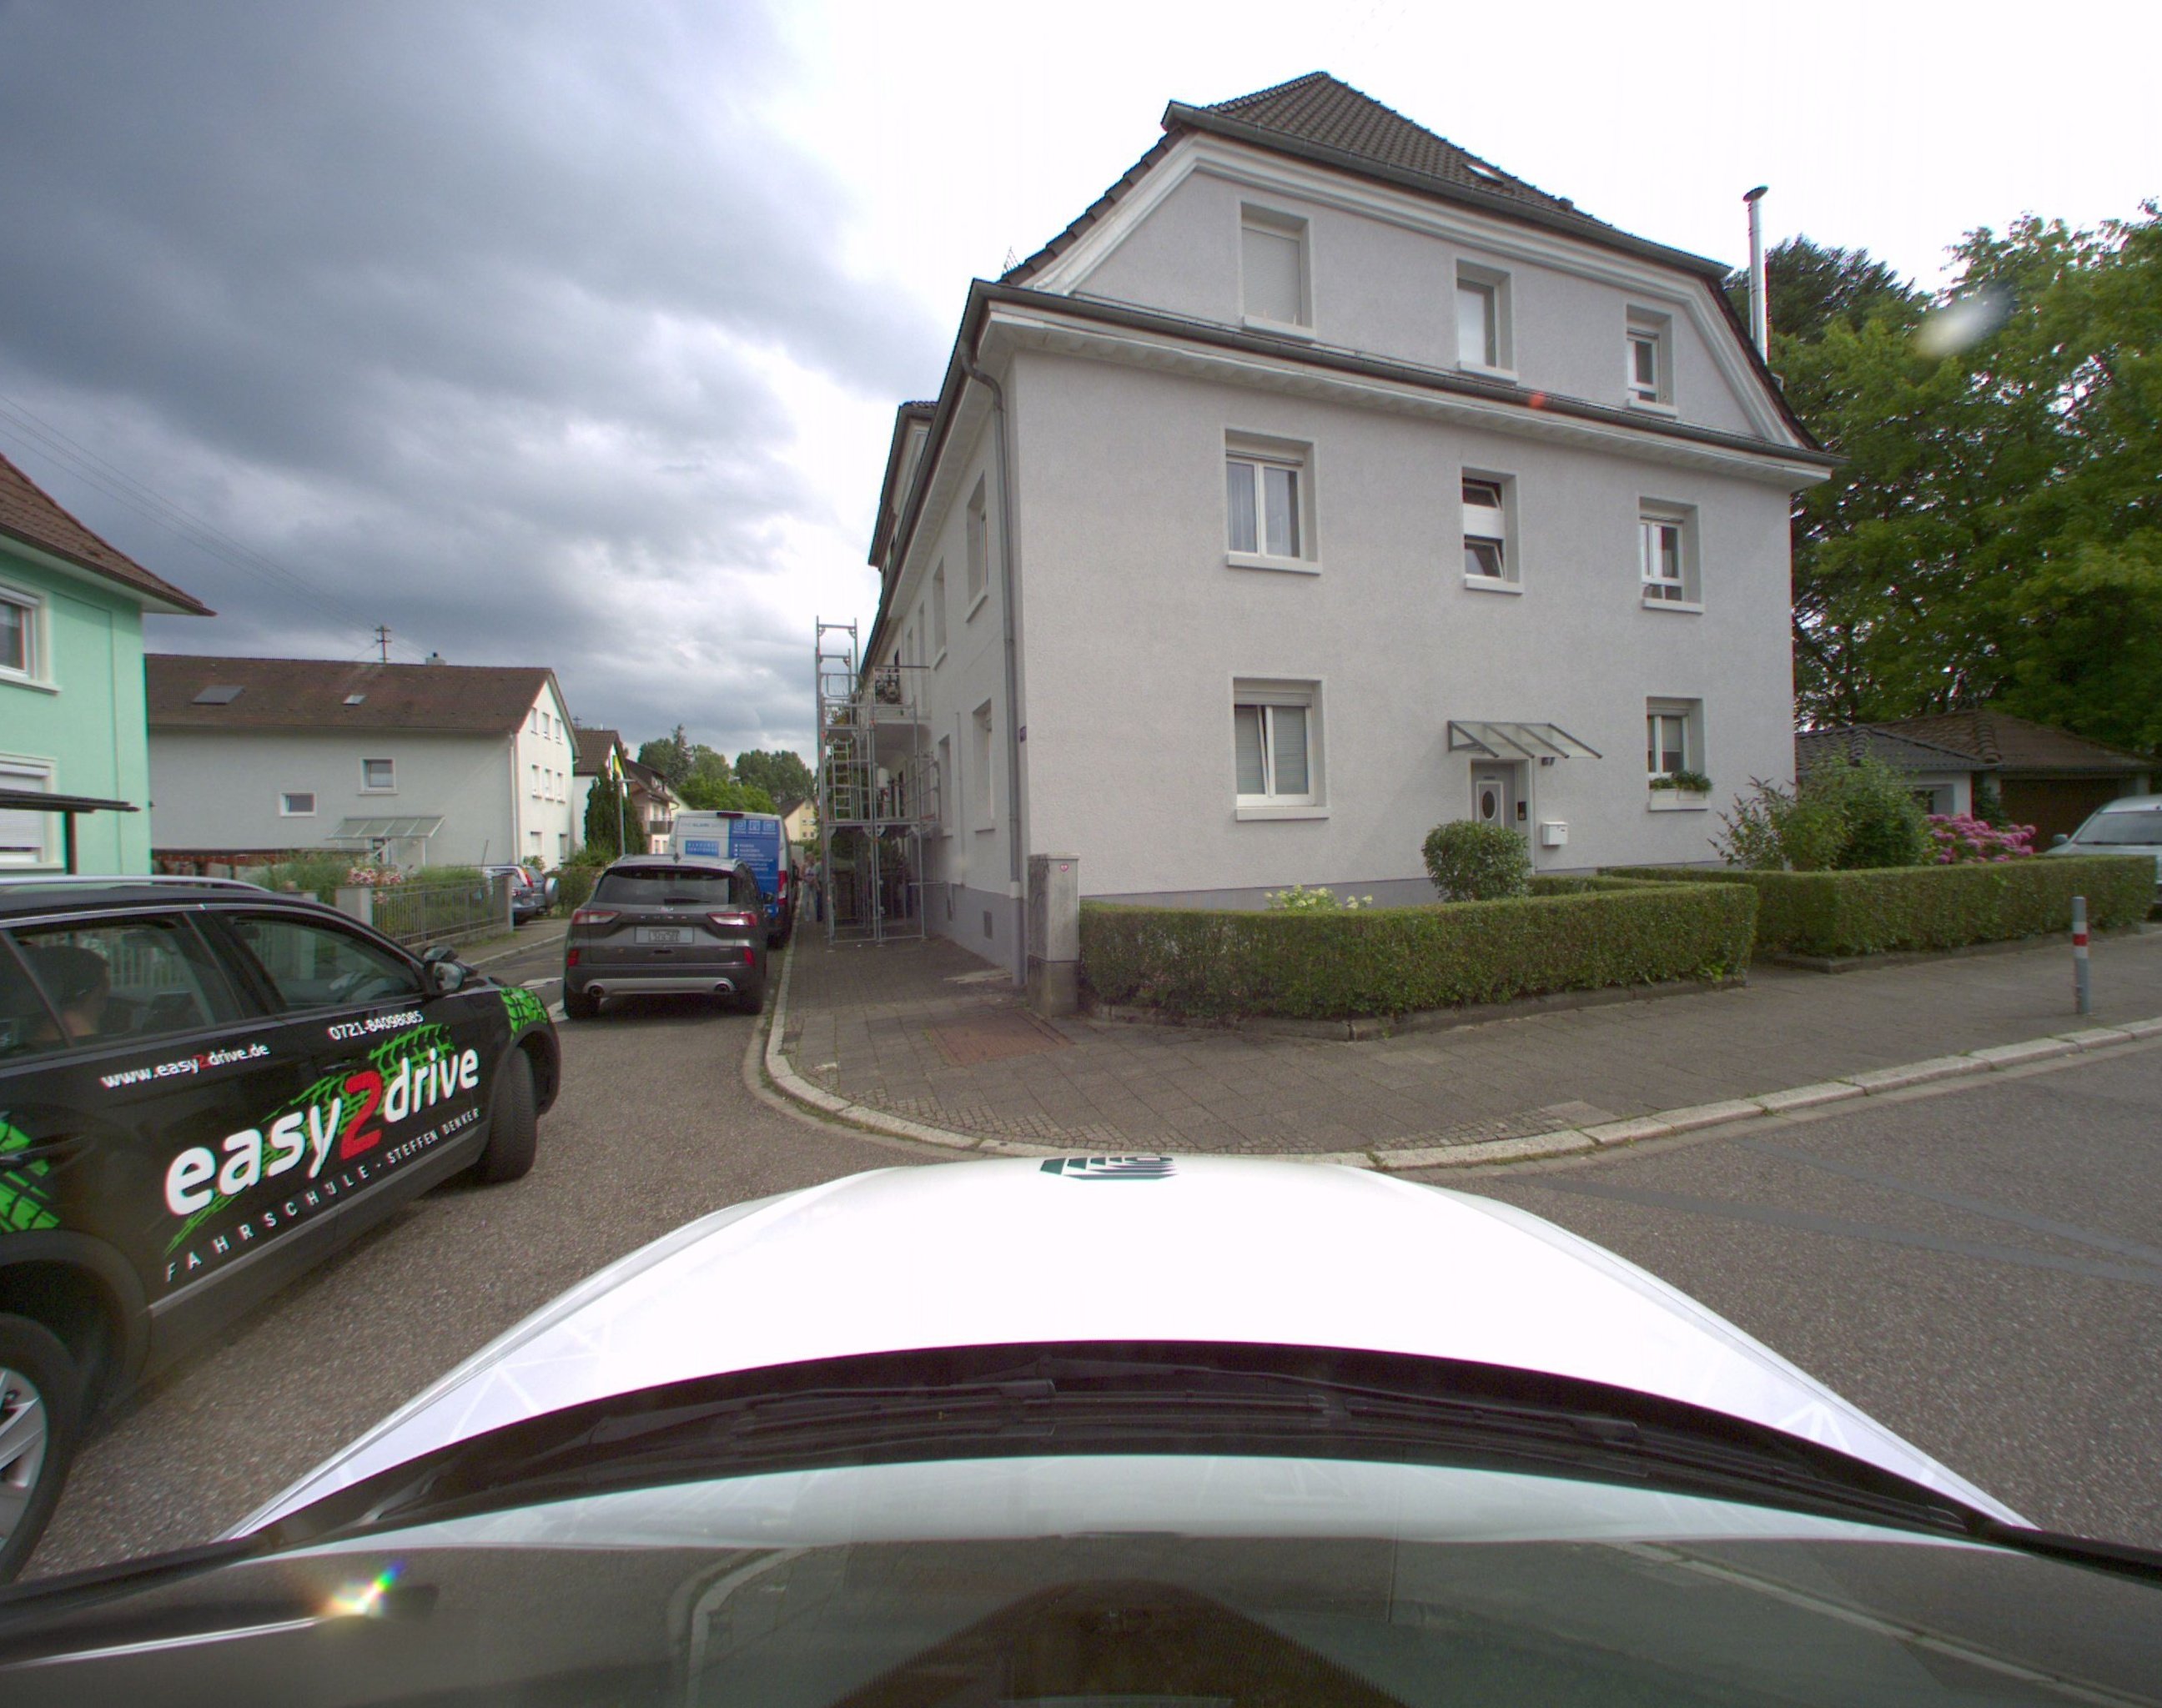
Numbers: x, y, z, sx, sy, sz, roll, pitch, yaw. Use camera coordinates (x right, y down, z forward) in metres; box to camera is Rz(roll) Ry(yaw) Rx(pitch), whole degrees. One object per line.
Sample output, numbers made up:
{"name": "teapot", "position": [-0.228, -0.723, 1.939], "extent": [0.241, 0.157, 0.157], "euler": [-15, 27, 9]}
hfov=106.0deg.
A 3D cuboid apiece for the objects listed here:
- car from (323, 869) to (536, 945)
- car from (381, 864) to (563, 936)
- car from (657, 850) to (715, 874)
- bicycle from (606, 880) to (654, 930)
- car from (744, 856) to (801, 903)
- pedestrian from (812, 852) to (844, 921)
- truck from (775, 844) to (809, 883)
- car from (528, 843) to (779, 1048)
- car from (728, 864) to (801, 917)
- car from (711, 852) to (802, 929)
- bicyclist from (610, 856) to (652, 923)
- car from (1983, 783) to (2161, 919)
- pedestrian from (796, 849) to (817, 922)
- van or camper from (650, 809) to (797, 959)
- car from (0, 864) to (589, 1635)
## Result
{"name": "car", "position": [-15.287, 1.198, 19.337], "extent": [3.586, 1.500, 1.575], "euler": [-3, 0, -23]}
{"name": "car", "position": [-16.286, 1.180, 21.984], "extent": [3.586, 1.667, 1.575], "euler": [-3, 0, -23]}
{"name": "car", "position": [-31.740, 0.656, 65.580], "extent": [4.005, 1.772, 1.855], "euler": [-2, -1, -24]}
{"name": "bicycle", "position": [-11.688, 1.293, 21.158], "extent": [0.707, 1.152, 1.861], "euler": [-3, 1, -18]}
{"name": "car", "position": [-12.869, 1.008, 33.987], "extent": [2.001, 1.749, 4.311], "euler": [-2, 1, -21]}
{"name": "pedestrian", "position": [-6.210, 0.797, 19.997], "extent": [0.600, 1.629, 0.623], "euler": [-3, -1, -8]}
{"name": "truck", "position": [-21.390, 0.680, 60.193], "extent": [2.138, 2.657, 4.553], "euler": [-2, 1, -21]}
{"name": "car", "position": [-4.645, 0.808, 9.517], "extent": [2.001, 1.726, 4.311], "euler": [-2, 1, -21]}
{"name": "car", "position": [-10.317, 1.118, 26.650], "extent": [2.001, 1.455, 4.311], "euler": [-2, 1, -21]}
{"name": "car", "position": [-8.677, 0.881, 21.900], "extent": [2.001, 1.772, 4.311], "euler": [-2, 1, -21]}
{"name": "bicyclist", "position": [-11.746, 0.907, 21.280], "extent": [0.698, 1.666, 0.969], "euler": [-4, 0, -18]}
{"name": "car", "position": [16.249, -0.120, 12.313], "extent": [3.997, 1.837, 1.988], "euler": [-2, 0, -17]}
{"name": "pedestrian", "position": [-6.792, 0.778, 20.158], "extent": [0.409, 1.762, 0.509], "euler": [-2, -1, -22]}
{"name": "van or camper", "position": [-6.912, 0.482, 16.304], "extent": [2.199, 2.459, 5.022], "euler": [-2, 1, -19]}
{"name": "car", "position": [-3.316, 0.827, 2.591], "extent": [1.818, 1.520, 4.024], "euler": [-1, -1, -13]}
